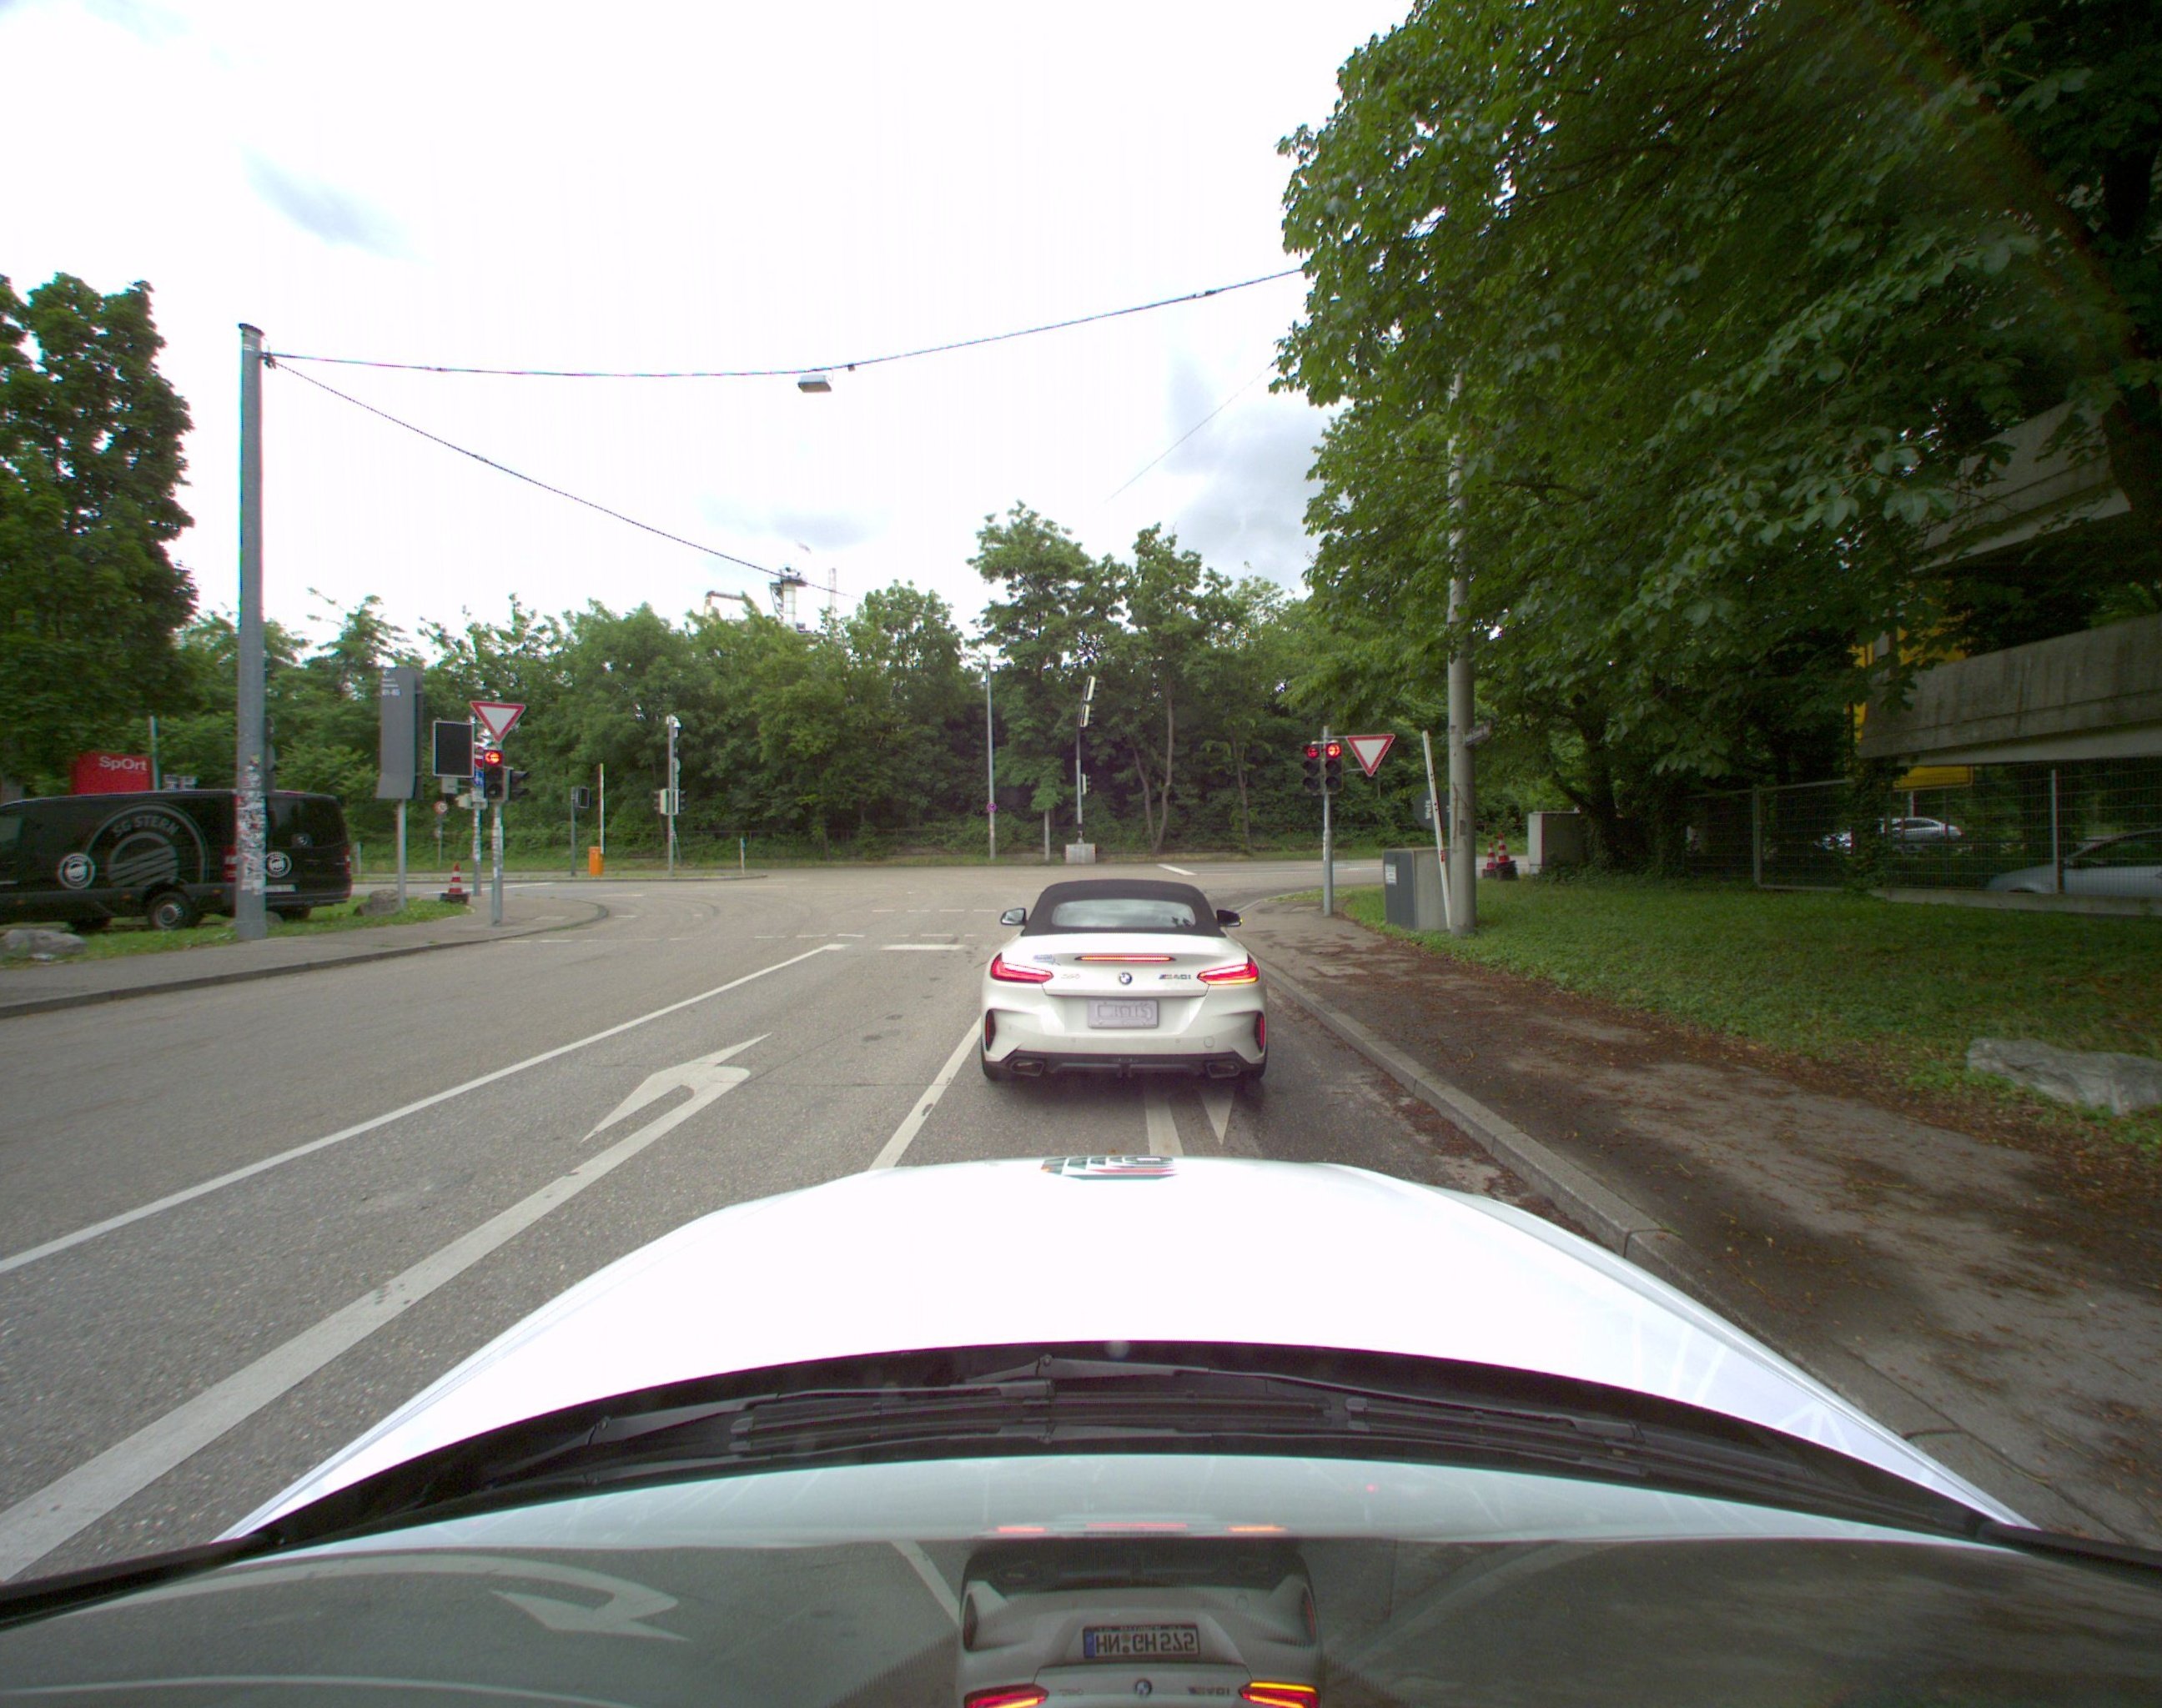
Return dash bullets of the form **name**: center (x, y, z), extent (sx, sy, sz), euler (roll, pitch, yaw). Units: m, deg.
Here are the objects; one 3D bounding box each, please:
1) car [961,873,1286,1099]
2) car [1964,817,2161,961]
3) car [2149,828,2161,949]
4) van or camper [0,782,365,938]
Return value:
- **car**: center (0.239, 0.791, 6.576), extent (1.822, 1.257, 3.998), euler (0, -1, 0)
- **car**: center (13.611, 0.427, 10.039), extent (1.475, 1.708, 3.720), euler (0, -1, 2)
- **car**: center (16.004, 0.454, 9.731), extent (1.574, 1.708, 3.770), euler (0, -1, 2)
- **van or camper**: center (-15.892, 0.158, 13.942), extent (5.513, 2.314, 2.063), euler (-2, -2, 2)
